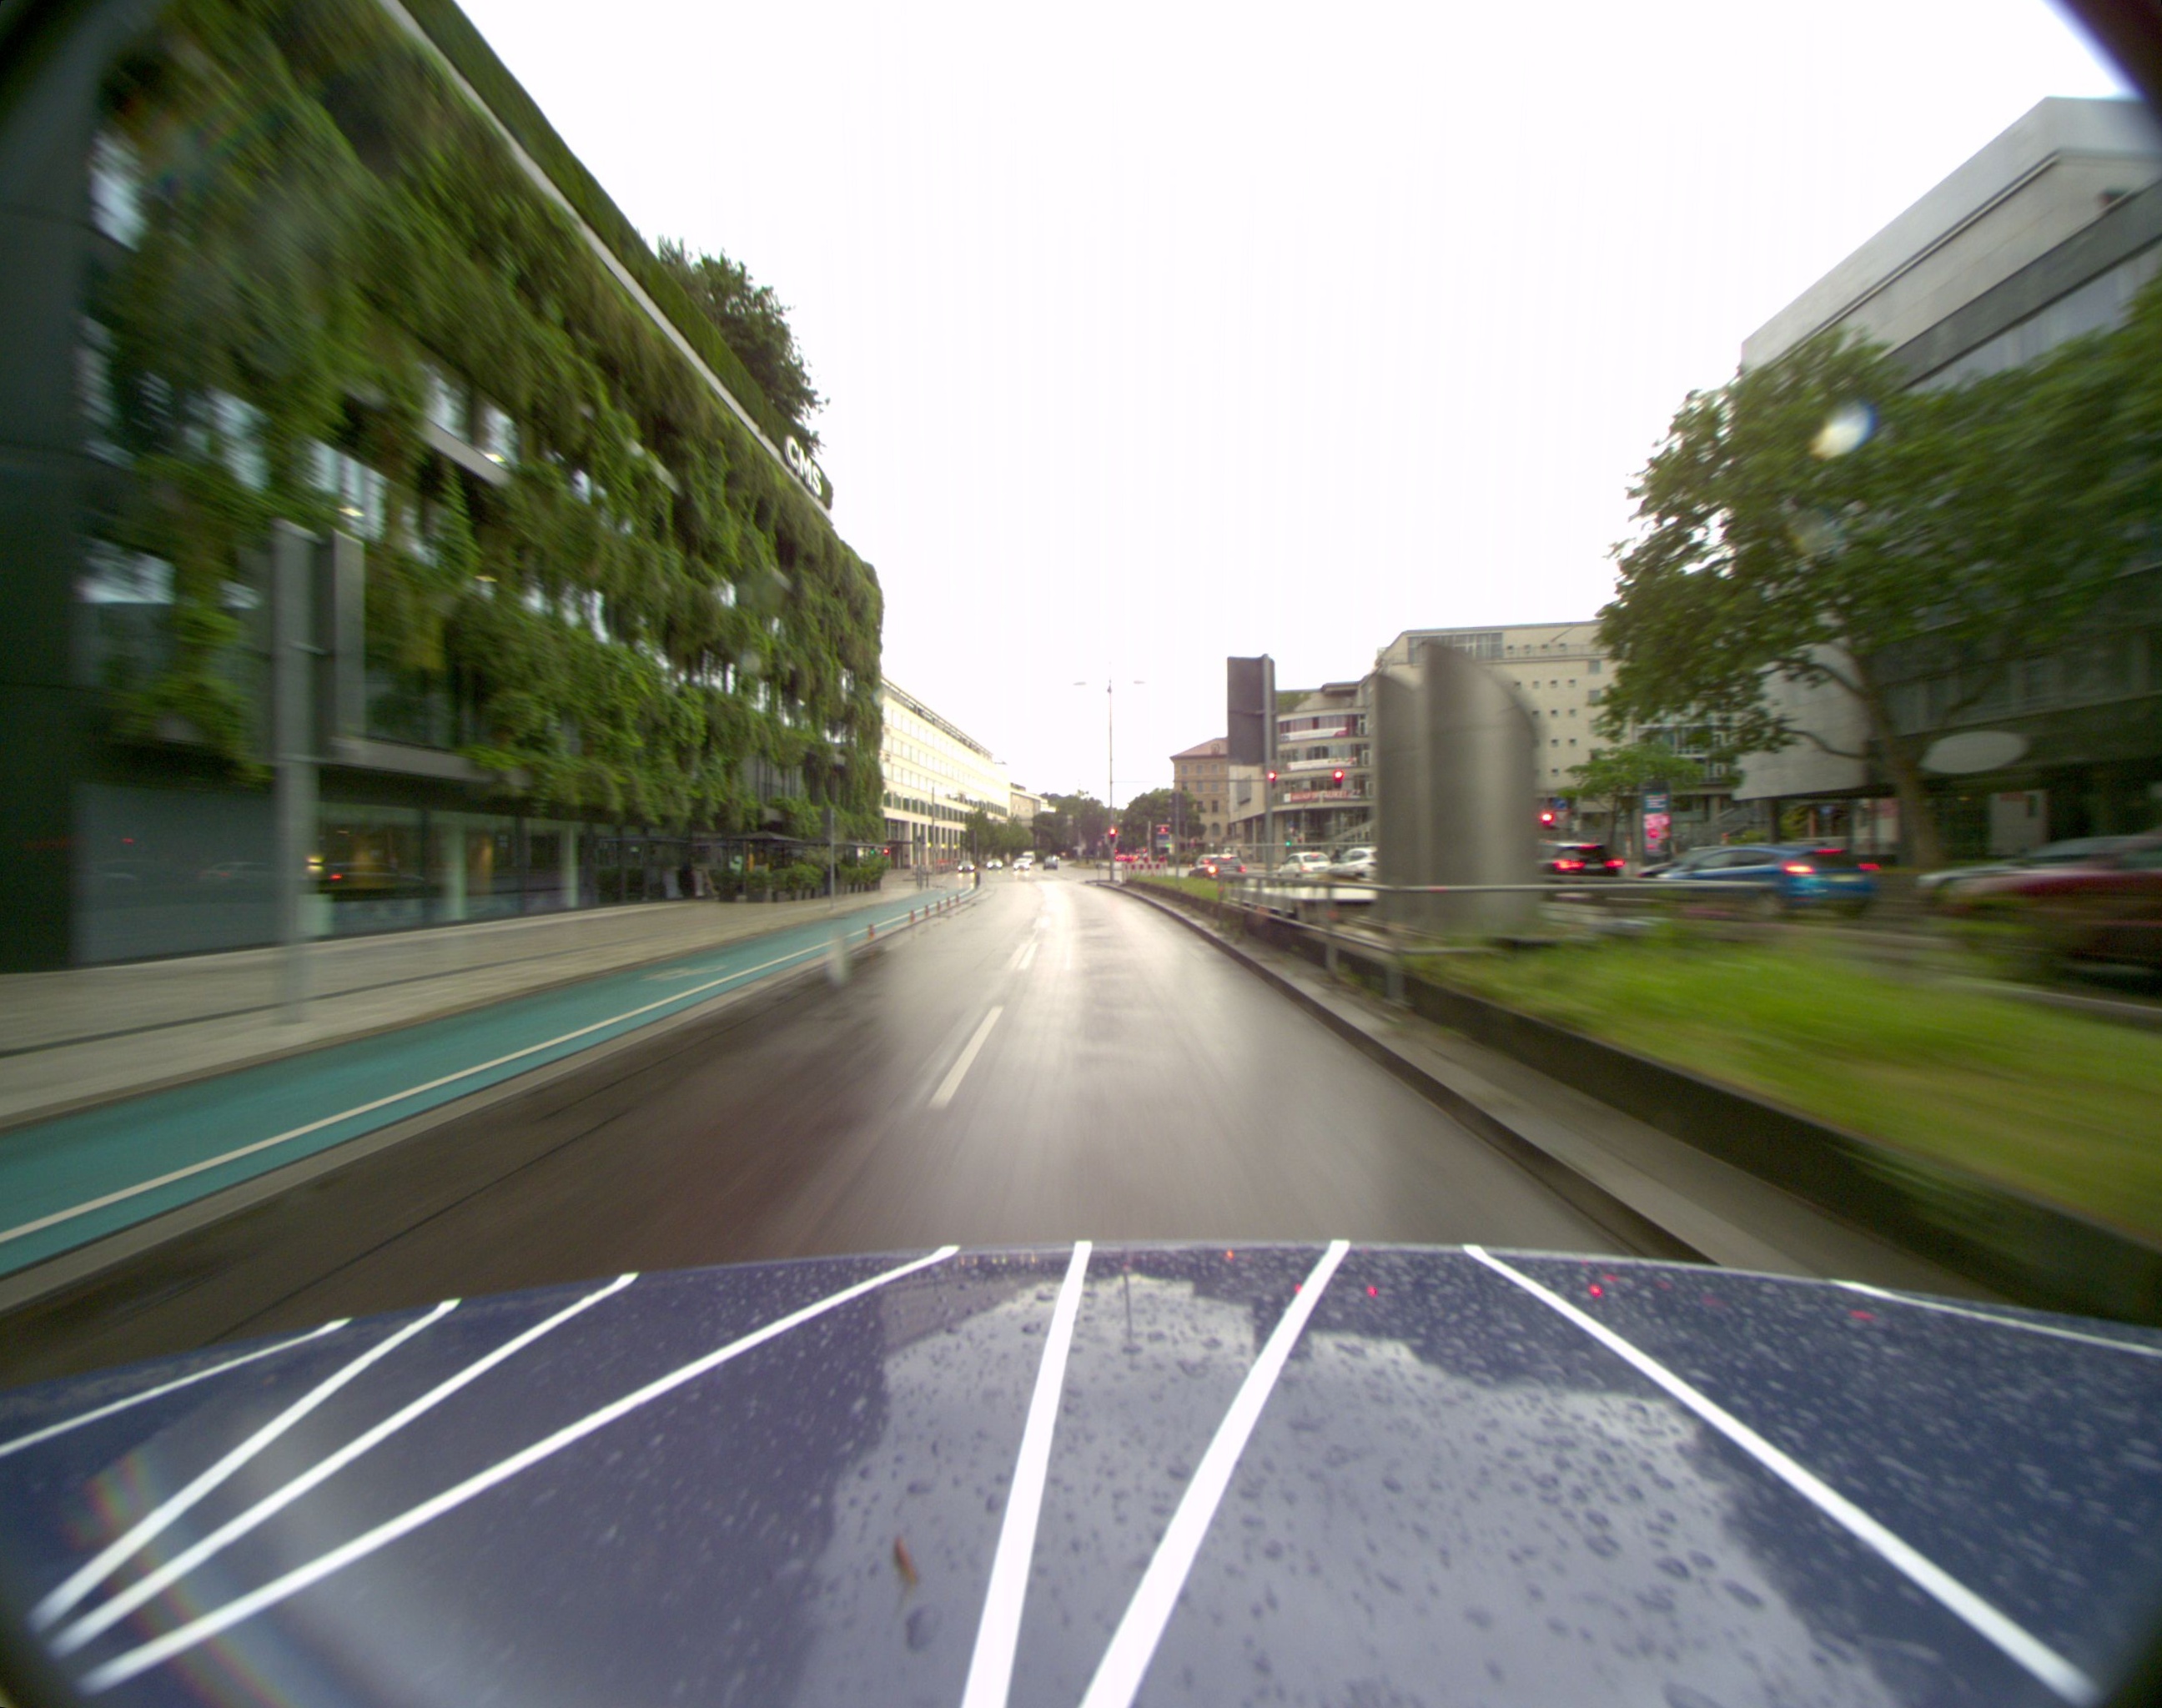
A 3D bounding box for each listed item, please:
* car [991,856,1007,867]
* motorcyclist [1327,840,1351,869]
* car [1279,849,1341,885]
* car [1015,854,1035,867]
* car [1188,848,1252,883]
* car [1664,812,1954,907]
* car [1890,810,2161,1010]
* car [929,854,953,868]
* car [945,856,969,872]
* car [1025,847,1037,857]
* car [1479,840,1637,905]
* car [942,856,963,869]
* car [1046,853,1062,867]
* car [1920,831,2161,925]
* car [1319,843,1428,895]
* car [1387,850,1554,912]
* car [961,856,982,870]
[{"bbox_3d":[-11.594,1.033,107.617,1.739,1.543,4.670,-1,1,1],"label":"car"},{"bbox_3d":[12.504,0.036,36.804,0.789,1.383,0.733,-2,0,-8],"label":"motorcyclist"},{"bbox_3d":[10.116,0.533,33.808,1.721,1.467,3.431,-2,0,1],"label":"car"},{"bbox_3d":[-6.953,0.766,94.730,1.978,1.543,4.670,-1,1,1],"label":"car"},{"bbox_3d":[6.347,0.500,35.188,1.849,1.473,4.162,-2,0,-5],"label":"car"},{"bbox_3d":[13.890,0.076,14.883,1.758,1.556,3.999,-2,1,-2],"label":"car"},{"bbox_3d":[10.402,0.465,6.315,1.840,1.756,5.108,-2,0,-1],"label":"car"},{"bbox_3d":[-16.365,0.775,88.919,1.739,1.543,4.670,-1,1,1],"label":"car"},{"bbox_3d":[-13.673,1.075,84.075,1.739,1.543,4.670,-1,1,1],"label":"car"},{"bbox_3d":[-10.019,-0.357,152.610,1.998,2.002,4.000,-2,0,1],"label":"car"},{"bbox_3d":[13.651,0.471,22.113,1.848,1.655,4.412,-2,0,1],"label":"car"},{"bbox_3d":[-16.317,1.020,96.746,1.739,1.543,4.670,-1,1,1],"label":"car"},{"bbox_3d":[-3.310,0.717,93.826,1.739,1.543,4.670,-1,1,0],"label":"car"},{"bbox_3d":[17.336,0.359,12.504,1.895,1.438,4.588,-2,-1,-1],"label":"car"},{"bbox_3d":[10.376,0.484,27.394,1.882,1.675,4.797,-2,0,-3],"label":"car"},{"bbox_3d":[10.500,0.662,20.998,1.848,1.442,4.915,-2,0,-3],"label":"car"},{"bbox_3d":[-13.134,1.094,91.347,1.739,1.543,4.670,-1,1,1],"label":"car"}]
